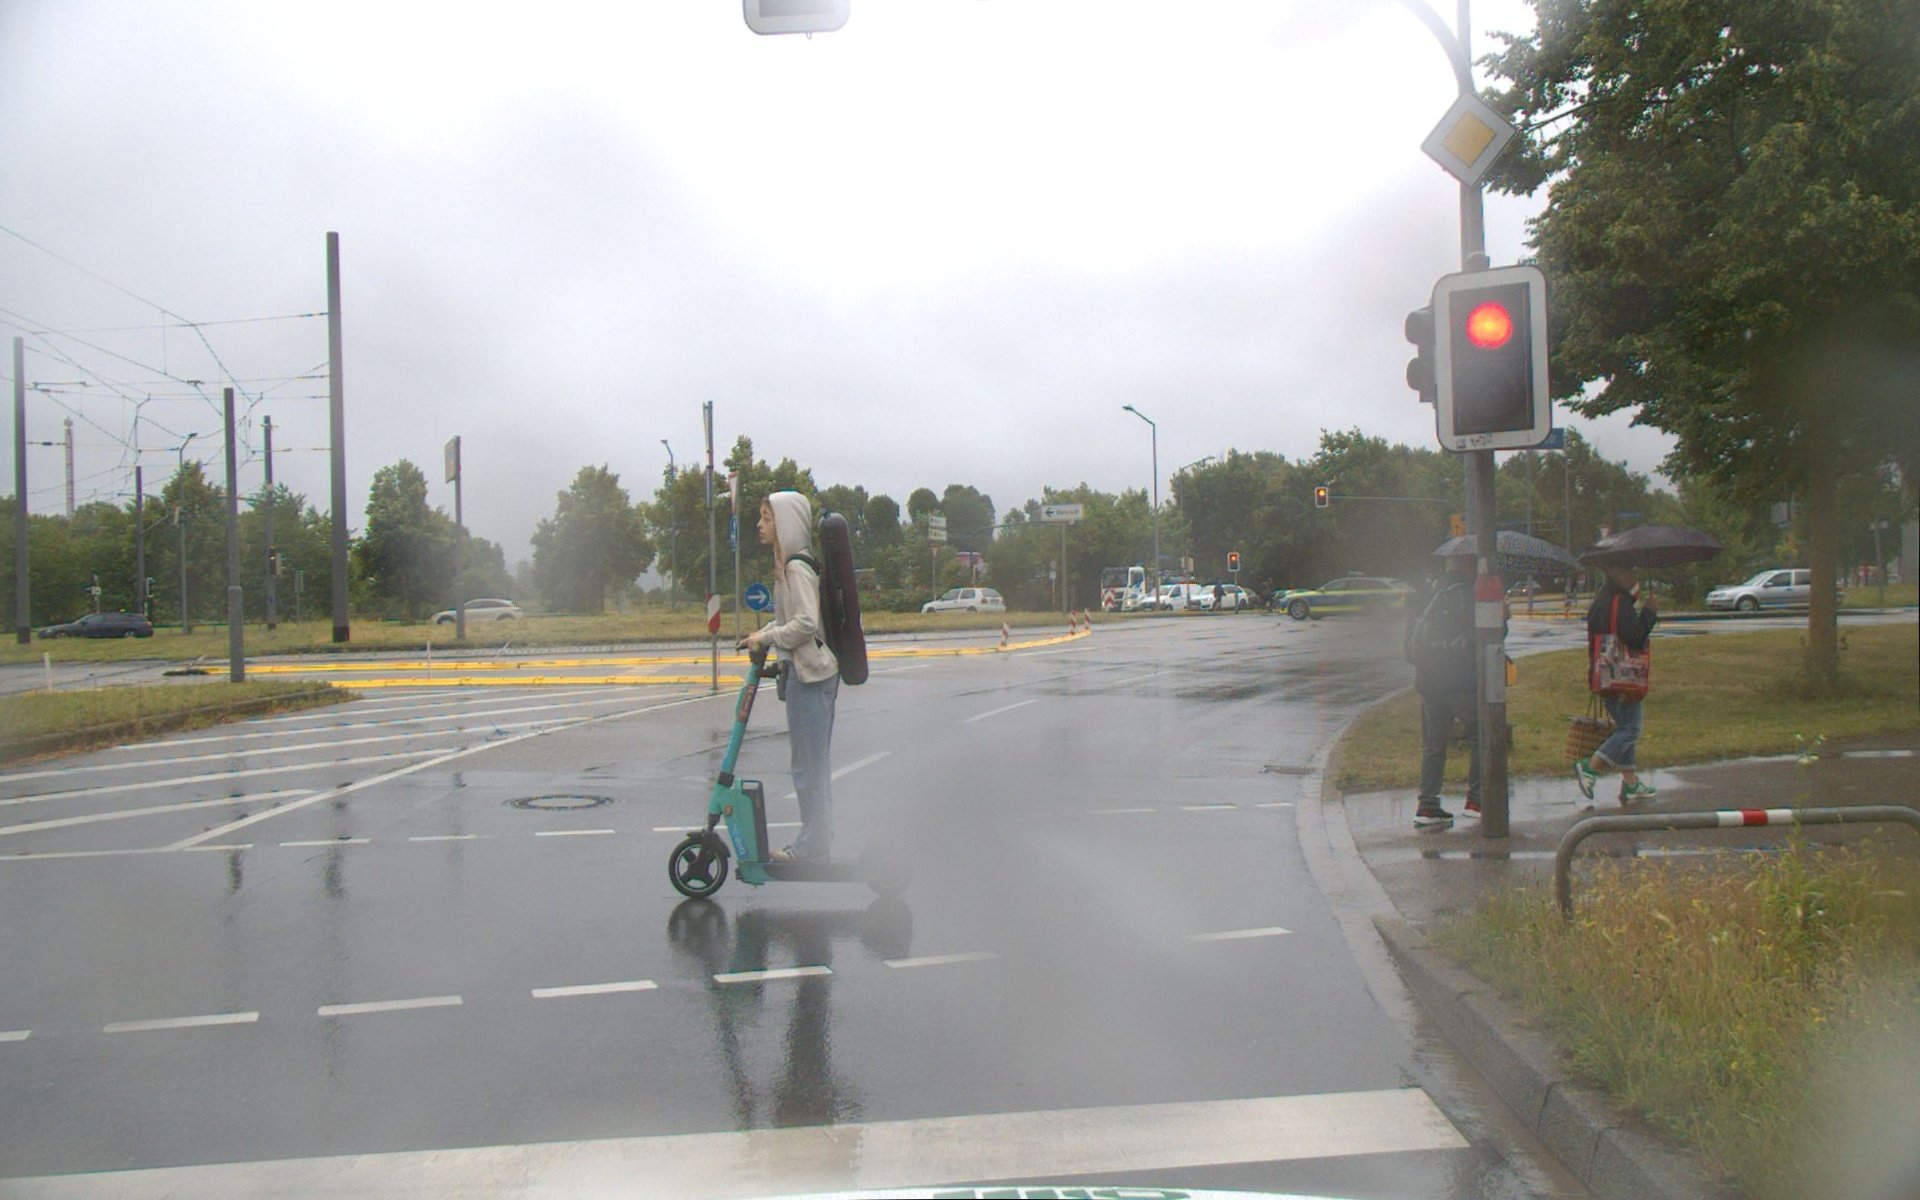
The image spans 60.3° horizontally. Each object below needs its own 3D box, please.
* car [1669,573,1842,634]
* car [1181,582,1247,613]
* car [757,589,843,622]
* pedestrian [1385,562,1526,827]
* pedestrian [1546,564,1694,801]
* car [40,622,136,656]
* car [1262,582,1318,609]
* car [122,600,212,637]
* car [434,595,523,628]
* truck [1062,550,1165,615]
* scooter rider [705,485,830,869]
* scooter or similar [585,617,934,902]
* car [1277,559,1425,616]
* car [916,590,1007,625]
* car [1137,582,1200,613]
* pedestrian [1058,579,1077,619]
[{"bbox_3d":[25.770,0.121,53.698,4.659,1.884,2.001,1,-1,5],"label":"car"},{"bbox_3d":[14.727,-0.116,95.821,1.769,1.691,4.386,0,-1,40],"label":"car"},{"bbox_3d":[-7.446,0.242,77.058,3.908,1.479,1.617,-1,0,36],"label":"car"},{"bbox_3d":[3.001,0.556,10.072,0.608,1.549,0.741,1,0,-2],"label":"pedestrian"},{"bbox_3d":[4.330,0.530,10.888,0.667,1.486,0.573,-2,-1,-5],"label":"pedestrian"},{"bbox_3d":[-41.419,1.838,78.594,3.935,1.479,1.606,-1,0,-32],"label":"car"},{"bbox_3d":[22.017,-0.311,110.252,1.769,1.691,4.386,-1,0,40],"label":"car"},{"bbox_3d":[-40.863,0.968,85.316,1.644,1.848,3.994,1,-1,28],"label":"car"},{"bbox_3d":[-23.060,0.525,79.369,4.031,1.479,1.617,-1,0,-15],"label":"car"},{"bbox_3d":[7.077,-0.722,75.293,2.411,2.733,8.058,1,-1,22],"label":"truck"},{"bbox_3d":[-0.902,0.348,7.771,0.521,1.739,0.433,-2,0,-7],"label":"scooter rider"},{"bbox_3d":[-0.929,0.736,7.760,1.555,1.281,0.447,1,-1,-7],"label":"scooter or similar"},{"bbox_3d":[13.662,-0.431,57.859,4.674,1.883,1.995,-1,0,32],"label":"car"},{"bbox_3d":[0.028,0.318,72.313,3.916,1.479,1.614,-1,0,42],"label":"car"},{"bbox_3d":[12.291,-0.144,97.464,1.769,1.691,4.112,0,-1,40],"label":"car"},{"bbox_3d":[3.607,-0.038,55.467,0.445,1.327,0.484,-1,0,38],"label":"pedestrian"}]
